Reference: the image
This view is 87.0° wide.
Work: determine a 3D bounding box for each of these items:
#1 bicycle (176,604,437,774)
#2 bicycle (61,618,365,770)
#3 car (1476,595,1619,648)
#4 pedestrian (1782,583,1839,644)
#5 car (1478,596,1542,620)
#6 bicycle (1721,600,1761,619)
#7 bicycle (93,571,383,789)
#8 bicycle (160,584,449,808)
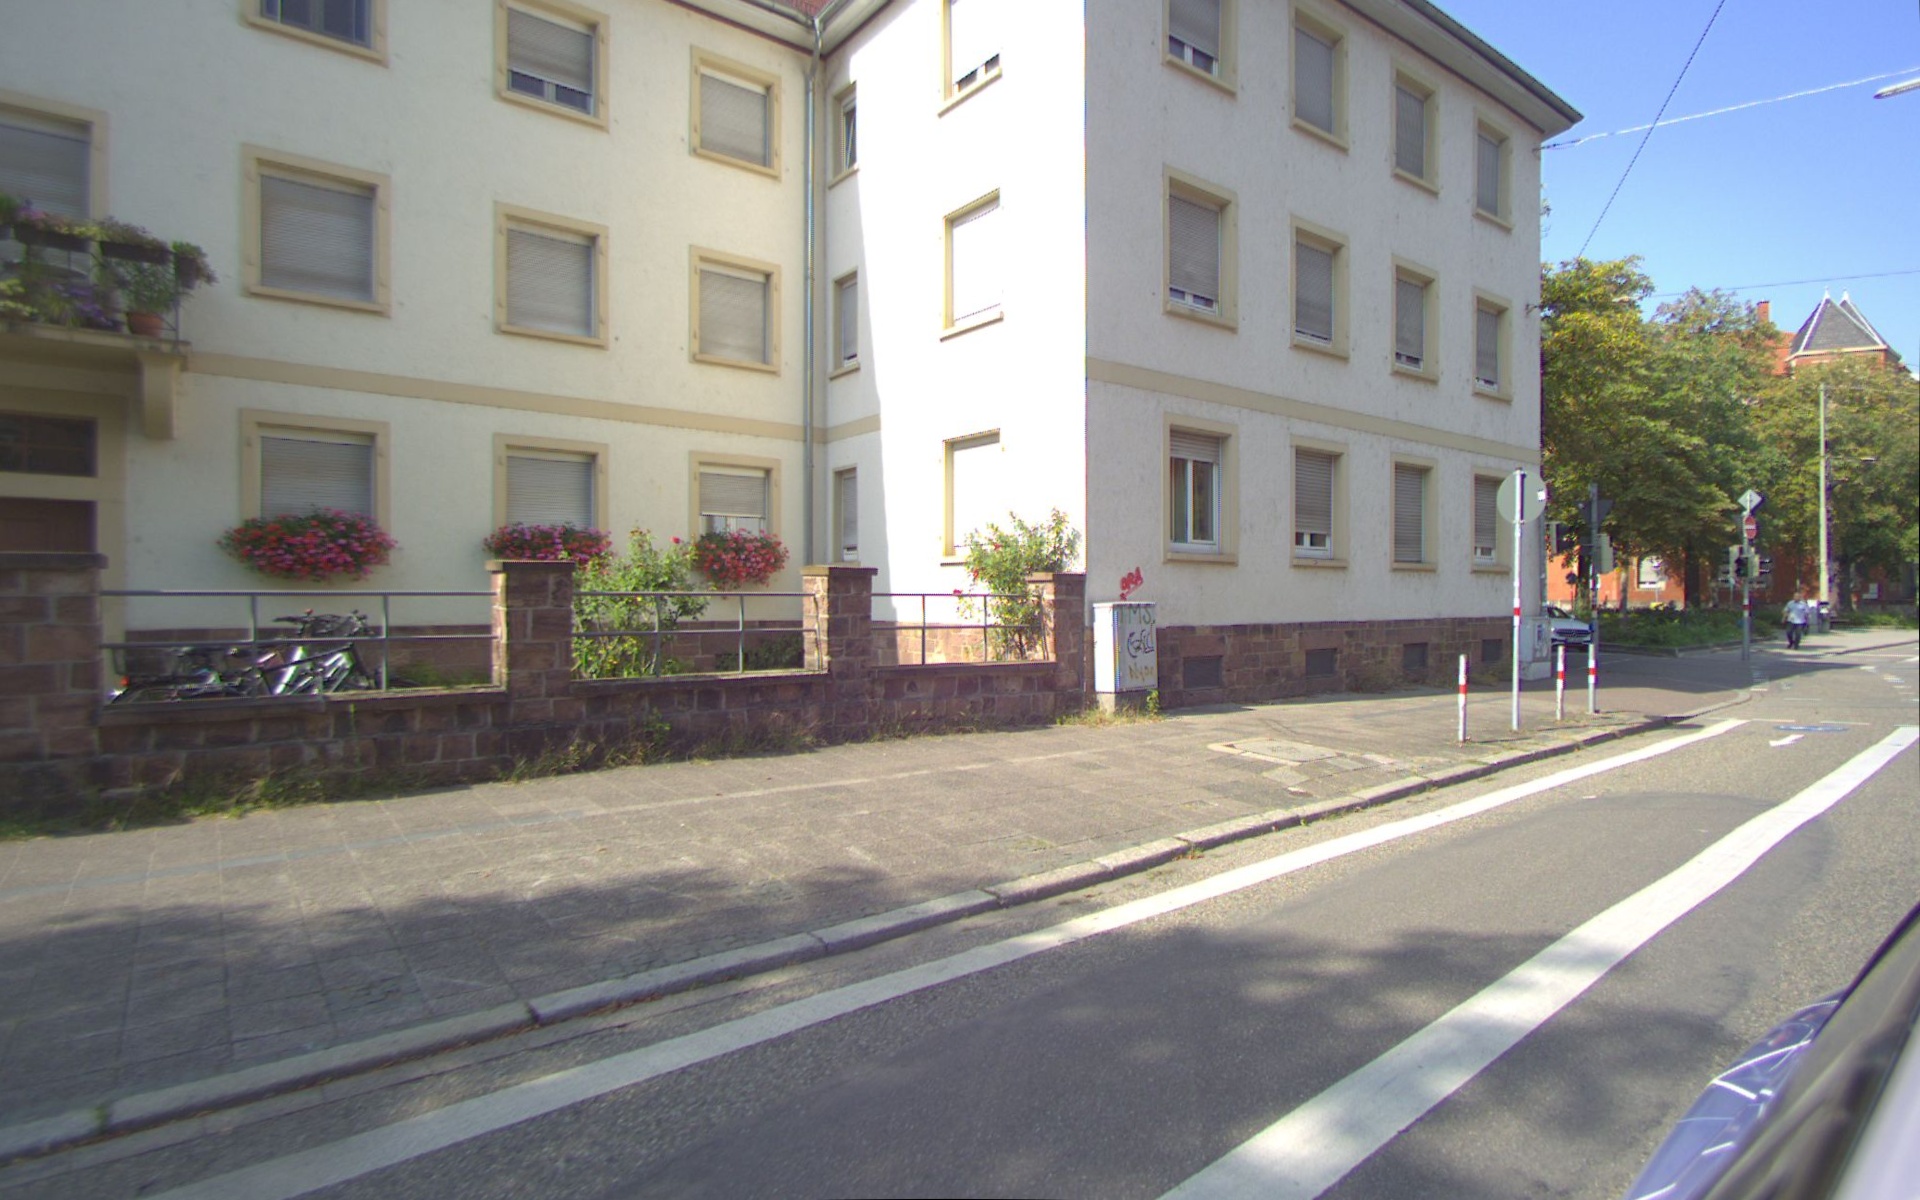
[{"bbox_3d":[-5.162,0.656,8.088,1.706,1.231,0.455,0,-1,-33],"label":"bicycle"},{"bbox_3d":[-6.153,0.737,8.481,1.986,1.140,0.523,0,-1,-27],"label":"bicycle"},{"bbox_3d":[18.658,0.613,32.430,1.842,1.487,4.950,2,0,3],"label":"car"},{"bbox_3d":[25.718,0.391,30.618,0.952,1.746,1.080,0,3,-38],"label":"pedestrian"},{"bbox_3d":[38.711,0.545,71.338,1.588,1.587,4.008,0,0,-16],"label":"car"},{"bbox_3d":[46.637,0.589,60.433,1.806,1.072,0.607,-1,-3,5],"label":"bicycle"},{"bbox_3d":[-5.279,0.541,7.516,1.706,1.474,0.455,0,-1,-33],"label":"bicycle"},{"bbox_3d":[-4.686,0.629,7.338,1.706,1.474,0.455,0,-1,-33],"label":"bicycle"}]
